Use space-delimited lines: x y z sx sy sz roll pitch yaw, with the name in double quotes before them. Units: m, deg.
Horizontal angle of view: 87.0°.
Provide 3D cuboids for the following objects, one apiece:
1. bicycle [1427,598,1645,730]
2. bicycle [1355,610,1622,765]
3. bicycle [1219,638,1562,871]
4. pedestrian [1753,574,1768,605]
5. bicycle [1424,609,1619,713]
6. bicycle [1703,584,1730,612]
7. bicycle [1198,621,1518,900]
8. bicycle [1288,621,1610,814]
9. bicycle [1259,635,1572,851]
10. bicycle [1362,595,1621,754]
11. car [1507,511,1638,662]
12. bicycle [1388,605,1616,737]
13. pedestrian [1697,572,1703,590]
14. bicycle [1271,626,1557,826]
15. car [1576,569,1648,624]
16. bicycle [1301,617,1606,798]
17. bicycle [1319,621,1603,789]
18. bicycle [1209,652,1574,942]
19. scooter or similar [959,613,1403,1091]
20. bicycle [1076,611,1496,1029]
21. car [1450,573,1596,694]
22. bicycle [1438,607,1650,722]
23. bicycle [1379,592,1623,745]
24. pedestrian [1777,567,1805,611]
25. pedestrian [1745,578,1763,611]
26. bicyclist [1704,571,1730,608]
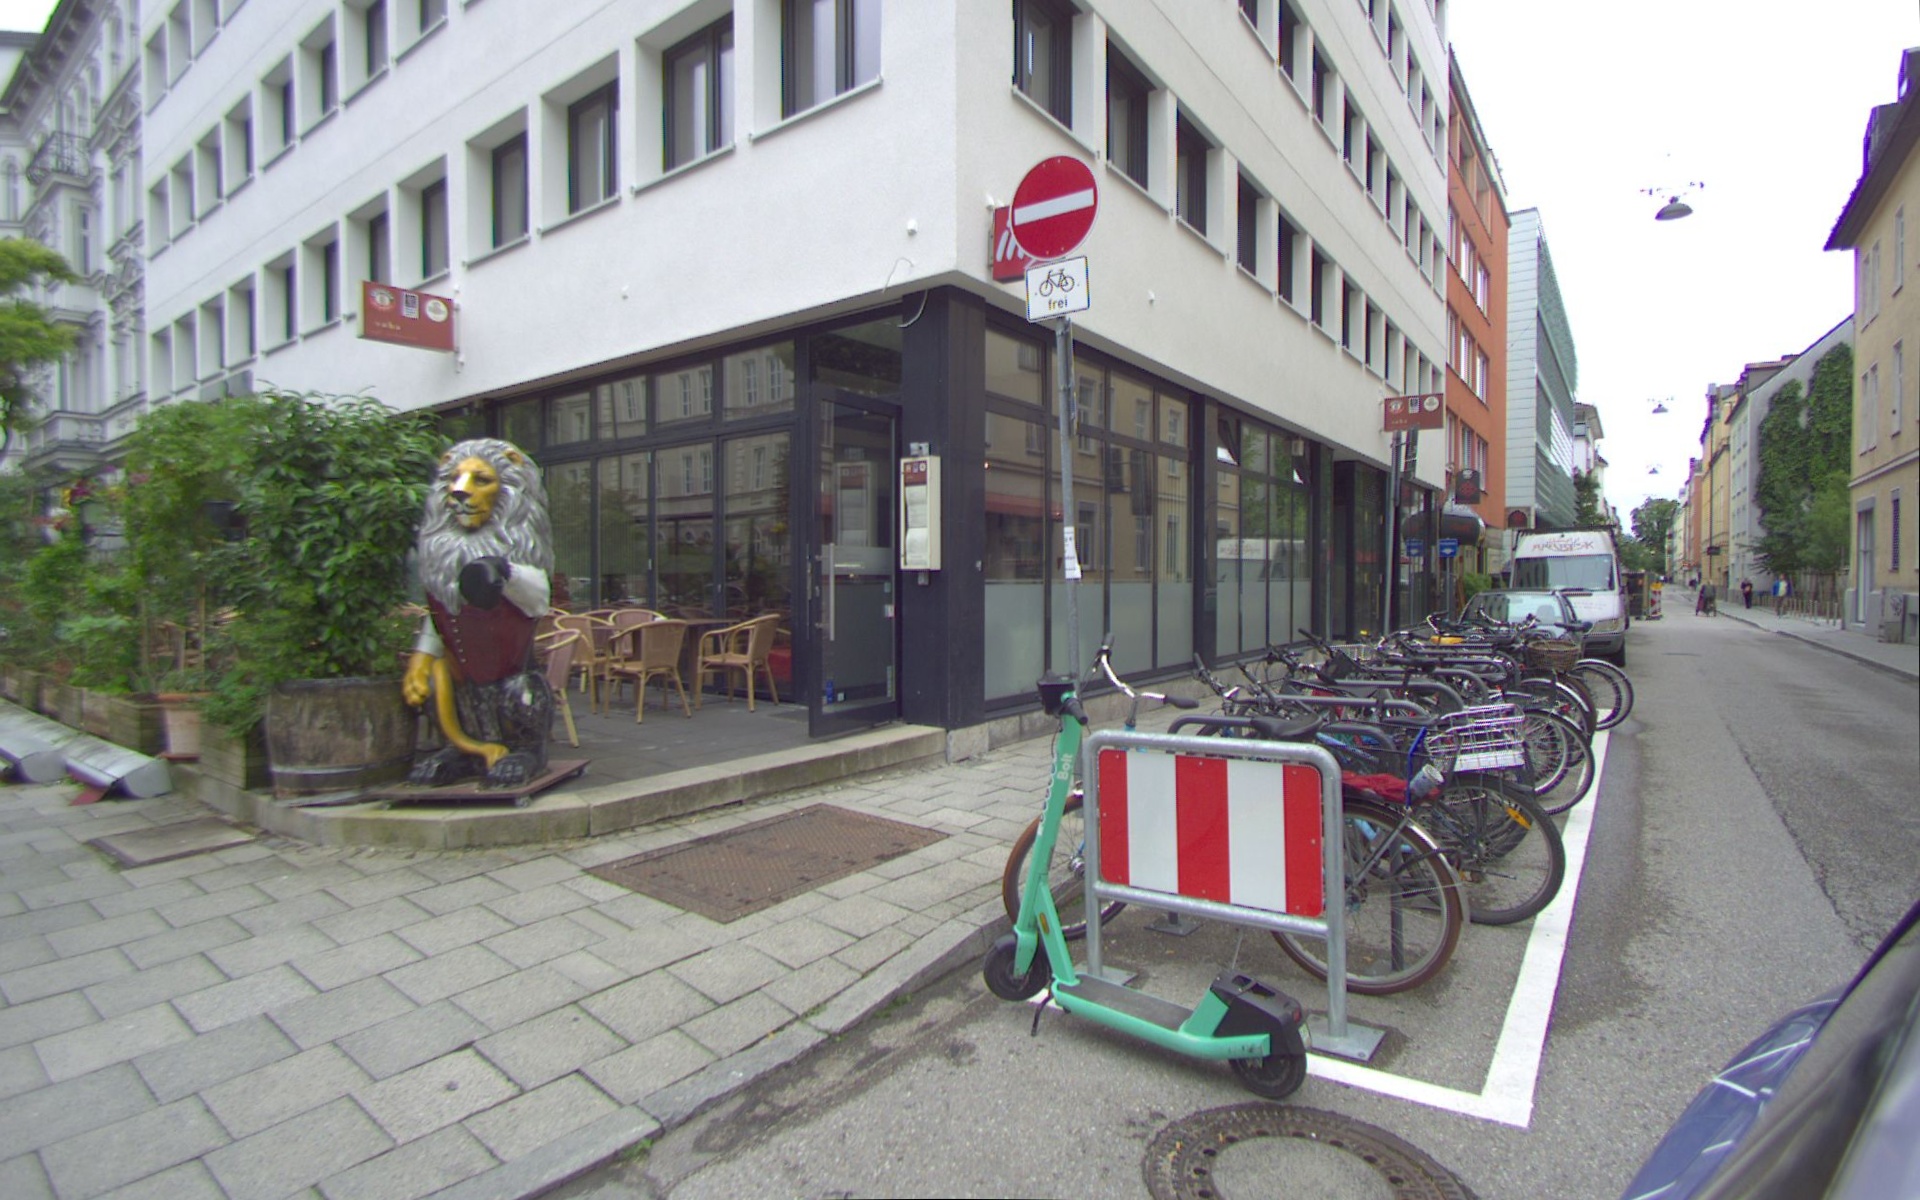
"bicycle" 5.744 0.597 10.168 1.866 1.219 0.482 1 0 34
"bicycle" 4.199 0.647 8.136 1.865 1.109 0.435 1 0 33
"bicycle" 2.380 0.793 5.701 1.732 1.093 0.447 1 0 33
"pedestrian" 44.152 -0.573 55.836 0.550 1.680 0.985 0 1 34
"bicycle" 6.310 0.673 11.436 1.866 1.094 0.482 -2 -2 34
"bicycle" 36.841 -0.111 49.334 0.929 1.272 2.384 2 3 35
"bicycle" 1.954 0.728 5.054 1.442 1.223 0.391 0 0 28
"bicycle" 3.156 0.707 6.649 1.865 1.093 0.403 1 0 33
"bicycle" 2.656 0.784 6.006 1.667 1.093 0.332 1 0 33
"bicycle" 4.472 0.575 8.600 1.886 1.184 0.559 1 1 33
"car" 12.221 -0.263 20.019 1.913 2.537 5.925 -1 0 34
"bicycle" 5.183 0.646 9.743 1.866 1.172 0.558 -1 -1 34
"pedestrian" 77.383 -2.017 105.834 0.490 1.847 0.546 1 1 34
"bicycle" 2.816 0.734 6.360 1.606 1.093 0.373 1 0 33
"car" 22.083 -0.146 34.218 1.819 1.731 4.333 -1 1 36
"bicycle" 3.372 0.688 7.028 1.865 1.093 0.398 1 0 33
"bicycle" 3.729 0.730 7.621 1.865 1.064 0.558 1 2 32
"bicycle" 1.895 0.806 4.547 1.442 1.083 0.459 0 0 28
"scooter or similar" 0.655 0.673 3.242 1.349 1.225 0.412 0 1 38
"bicycle" 1.182 0.707 3.833 1.453 1.301 0.439 0 0 37
"car" 8.058 0.372 14.357 1.574 1.482 3.510 1 1 33
"bicycle" 6.056 0.642 10.576 1.866 1.122 0.482 -1 -1 34
"bicycle" 4.830 0.559 9.106 1.867 1.219 0.573 2 2 34
"pedestrian" 35.481 -0.466 43.233 0.856 1.868 0.961 -1 0 36
"pedestrian" 45.539 -0.344 58.050 0.773 1.859 0.979 0 1 34
"bicyclist" 36.681 -0.537 49.061 0.923 1.742 1.086 2 2 35
